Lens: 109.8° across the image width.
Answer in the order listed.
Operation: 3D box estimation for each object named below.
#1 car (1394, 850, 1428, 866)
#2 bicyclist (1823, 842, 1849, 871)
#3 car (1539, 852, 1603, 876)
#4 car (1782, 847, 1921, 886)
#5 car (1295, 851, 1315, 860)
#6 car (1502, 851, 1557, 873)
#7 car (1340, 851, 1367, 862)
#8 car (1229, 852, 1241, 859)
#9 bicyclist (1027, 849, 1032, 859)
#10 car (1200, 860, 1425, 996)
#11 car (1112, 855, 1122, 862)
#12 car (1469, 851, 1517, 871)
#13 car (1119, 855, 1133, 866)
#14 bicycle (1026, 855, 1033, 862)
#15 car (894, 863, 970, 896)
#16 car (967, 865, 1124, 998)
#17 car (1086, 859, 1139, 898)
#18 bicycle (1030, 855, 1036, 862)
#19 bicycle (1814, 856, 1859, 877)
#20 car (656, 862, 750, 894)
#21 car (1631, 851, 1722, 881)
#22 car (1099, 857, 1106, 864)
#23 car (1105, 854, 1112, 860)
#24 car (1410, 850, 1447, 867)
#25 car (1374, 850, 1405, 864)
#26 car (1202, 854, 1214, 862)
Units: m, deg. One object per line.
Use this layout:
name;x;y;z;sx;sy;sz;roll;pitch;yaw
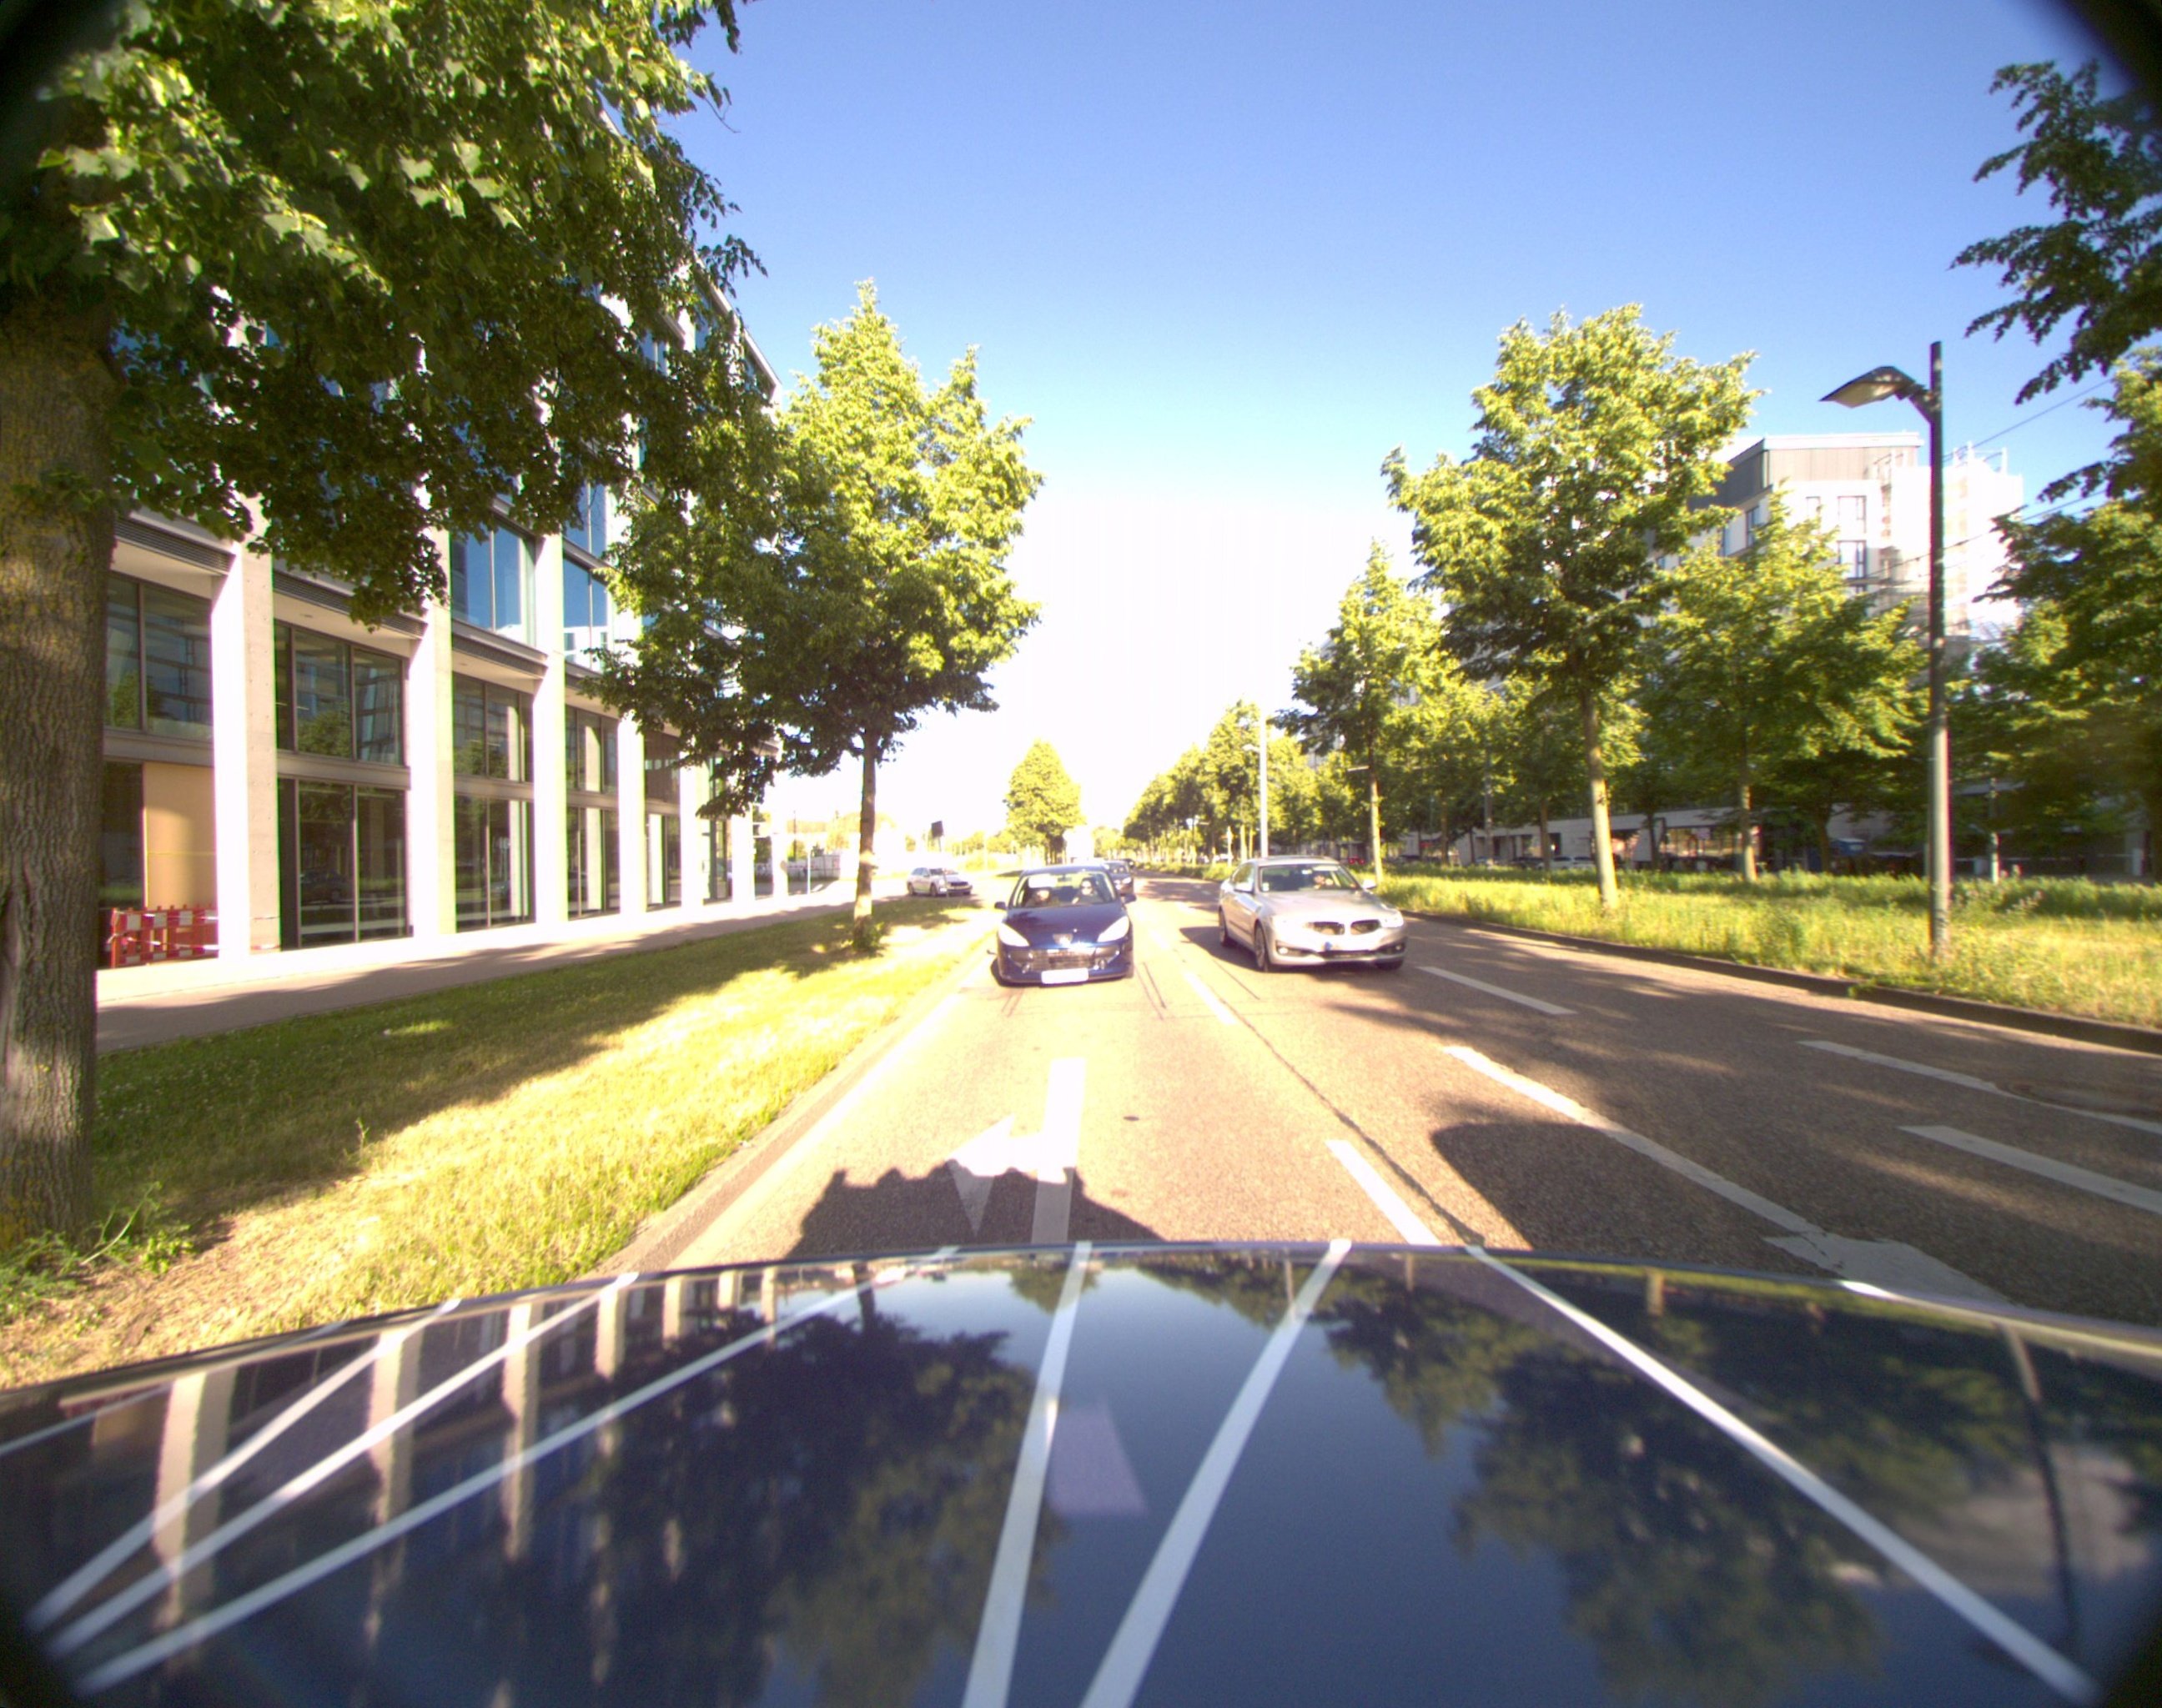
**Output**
car;35.376;0.394;81.495;1.884;1.588;4.184;-1;0;1
bicyclist;37.487;0.121;37.709;0.478;1.416;0.820;-1;1;1
car;34.852;0.675;54.145;1.884;1.588;4.184;-1;0;1
car;34.042;0.534;33.740;1.951;1.588;4.184;-1;0;1
car;36.133;0.211;122.550;1.998;1.387;4.000;-1;0;1
car;35.133;0.609;59.622;1.884;1.588;4.184;-1;0;1
car;35.737;0.272;99.633;1.999;1.387;3.999;-1;0;-2
car;35.987;0.353;177.623;1.998;1.387;4.001;-1;0;4
bicyclist;-10.469;0.004;154.434;0.931;2.045;1.121;-1;1;1
car;3.001;0.861;10.953;1.824;1.476;4.561;-1;0;0
car;7.376;0.992;156.289;1.878;1.415;4.344;-1;0;2
car;35.097;0.562;64.905;1.884;1.588;4.184;-1;0;1
car;6.458;0.906;109.681;1.861;1.482;4.000;-1;0;1
bicycle;-10.461;0.985;154.426;0.931;1.355;4.000;-1;0;1
car;-7.129;1.161;36.086;1.808;1.439;4.556;-1;0;-35
car;-0.401;0.963;11.338;1.846;1.473;4.481;-1;0;1
car;1.226;0.946;31.510;1.998;1.437;4.622;-1;0;1
bicycle;-10.230;0.934;160.767;0.931;1.355;4.000;-1;0;1
bicycle;37.501;0.606;37.745;0.478;1.029;1.756;-1;0;1
car;-20.090;1.282;40.503;3.996;1.569;2.000;-1;0;3
car;34.192;0.655;43.778;1.951;1.588;4.184;-1;0;1
car;5.170;1.561;181.112;1.724;1.516;4.000;-1;0;1
car;7.895;0.836;216.045;1.878;1.577;4.344;-1;0;2
car;34.966;0.463;76.587;1.884;1.588;4.184;-1;0;1
car;35.430;0.337;87.416;1.884;1.588;4.184;-1;0;1
car;27.474;0.922;164.713;1.895;1.671;4.000;-1;0;1
